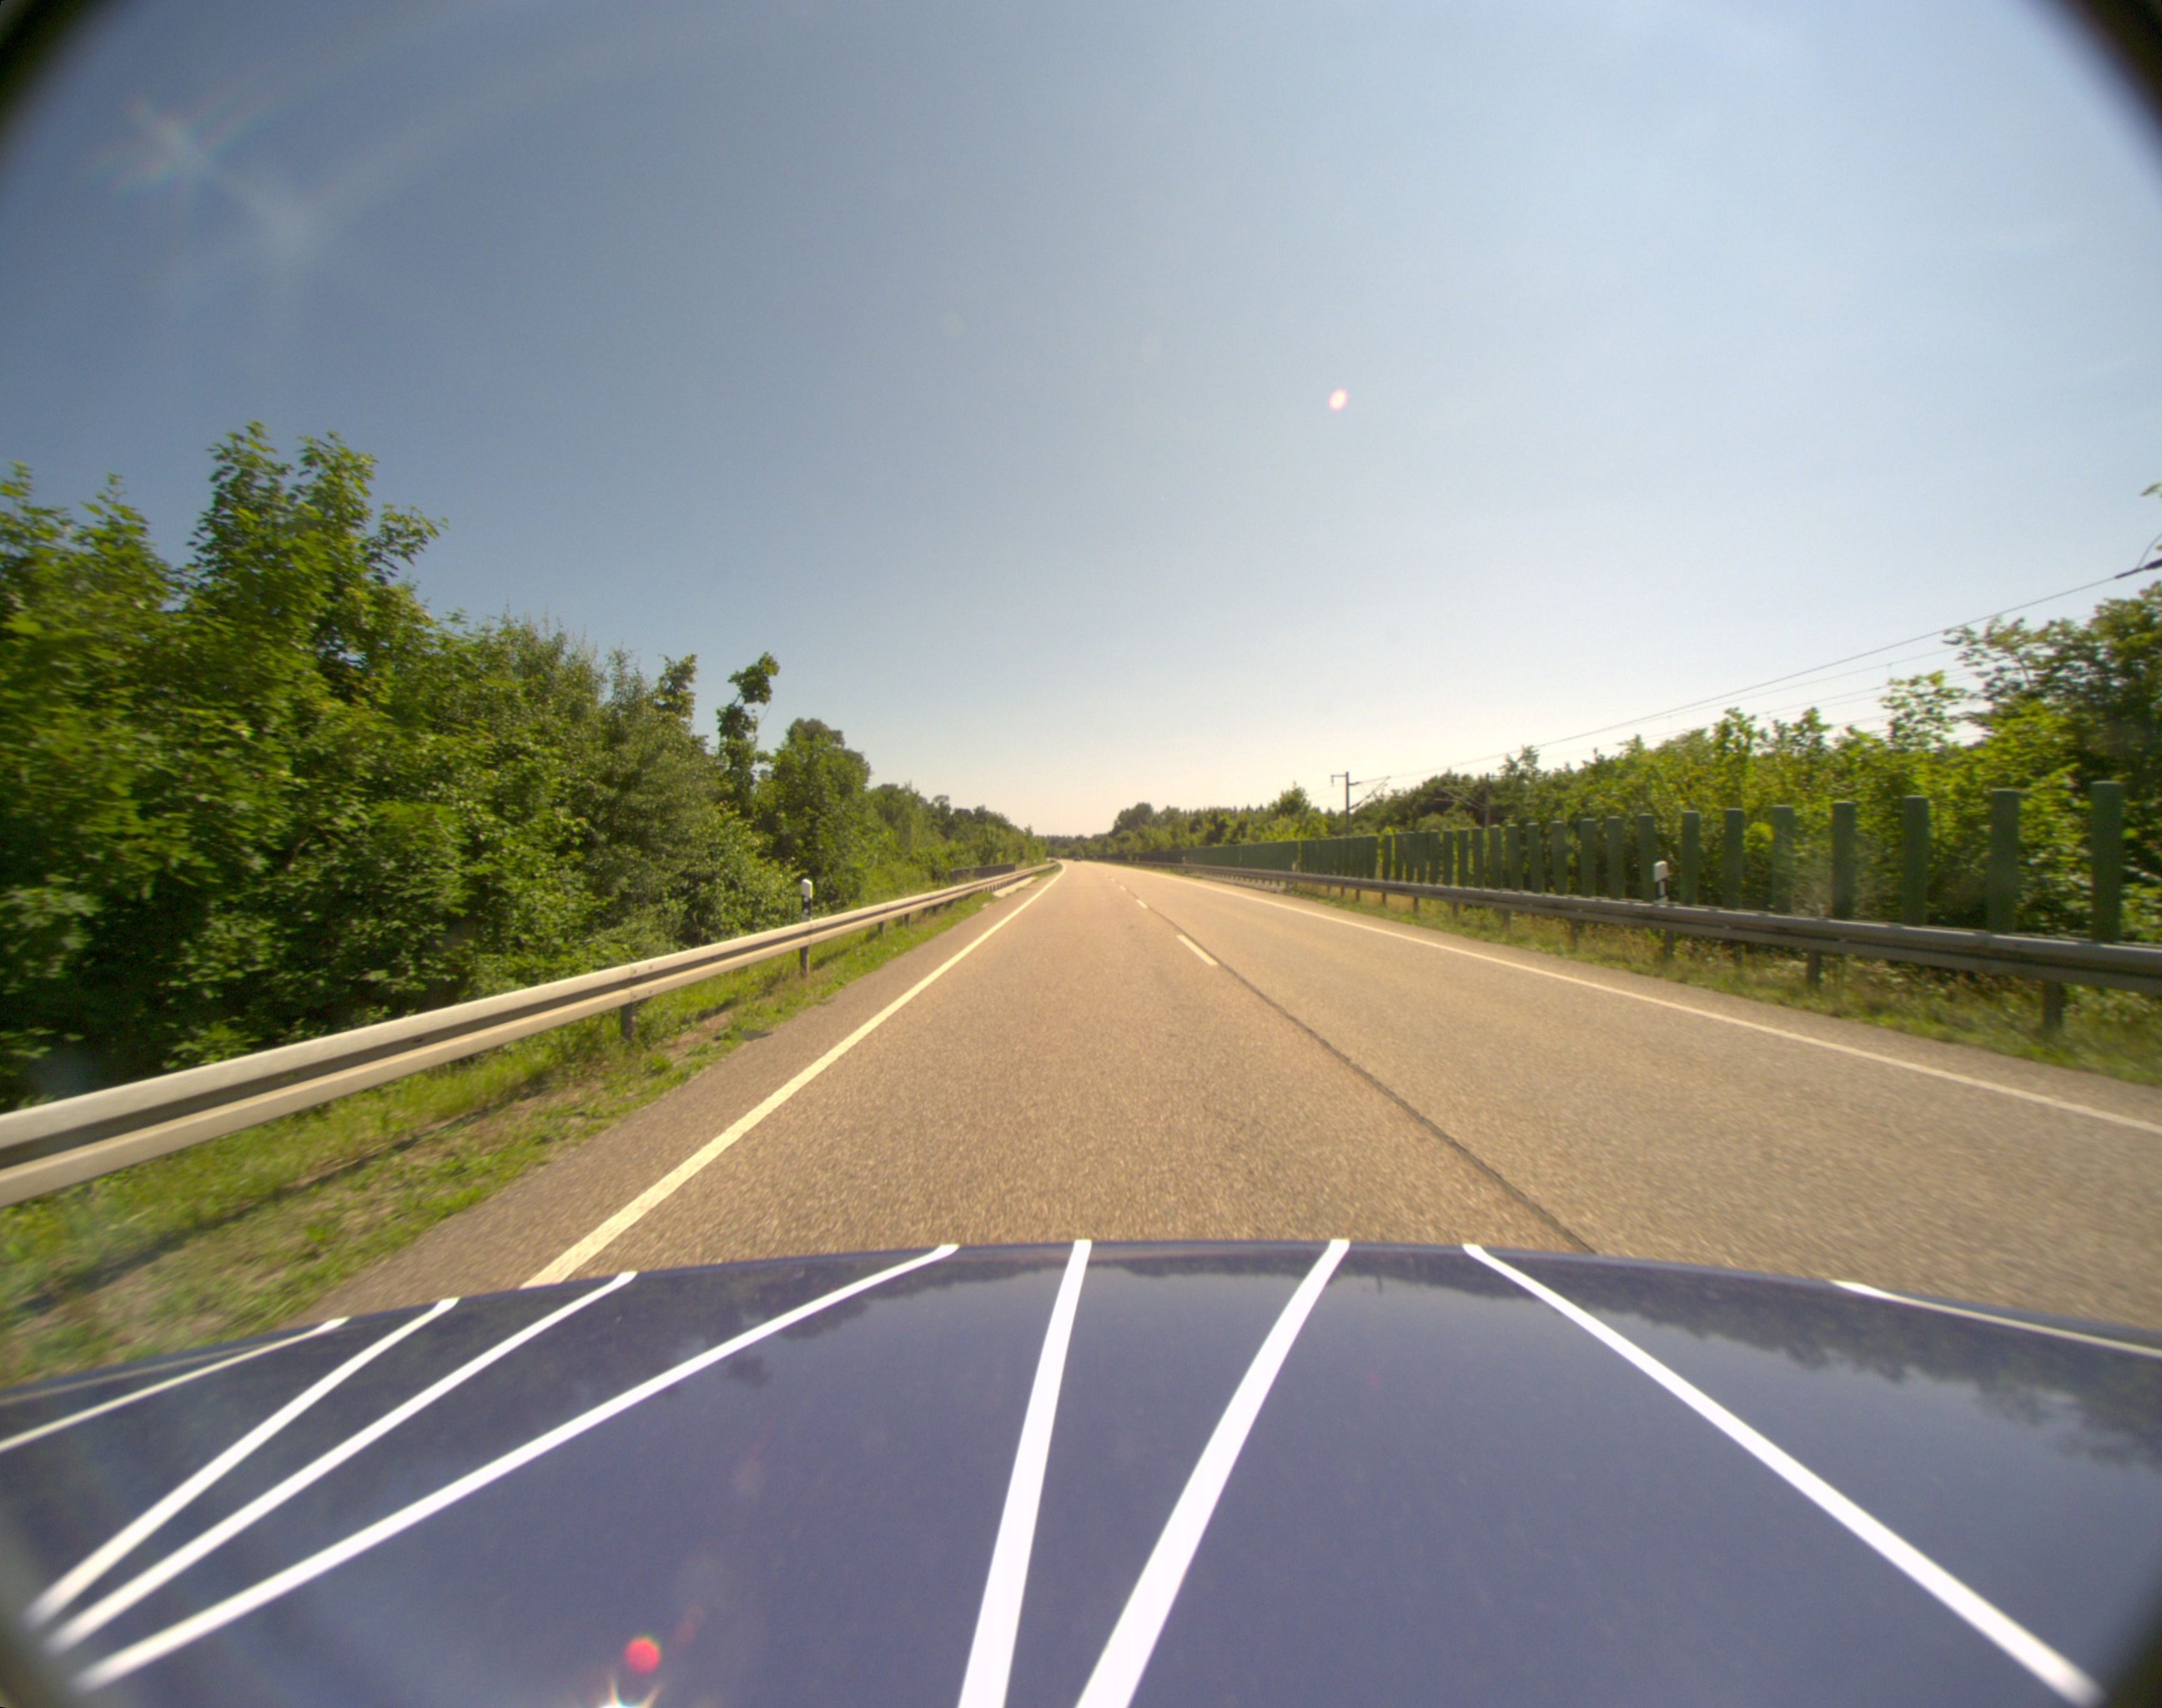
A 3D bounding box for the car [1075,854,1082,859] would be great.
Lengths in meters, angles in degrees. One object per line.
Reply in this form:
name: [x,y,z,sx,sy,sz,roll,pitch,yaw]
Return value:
car: [-0.617,0.640,214.007,1.791,1.364,3.896,-2,1,2]
